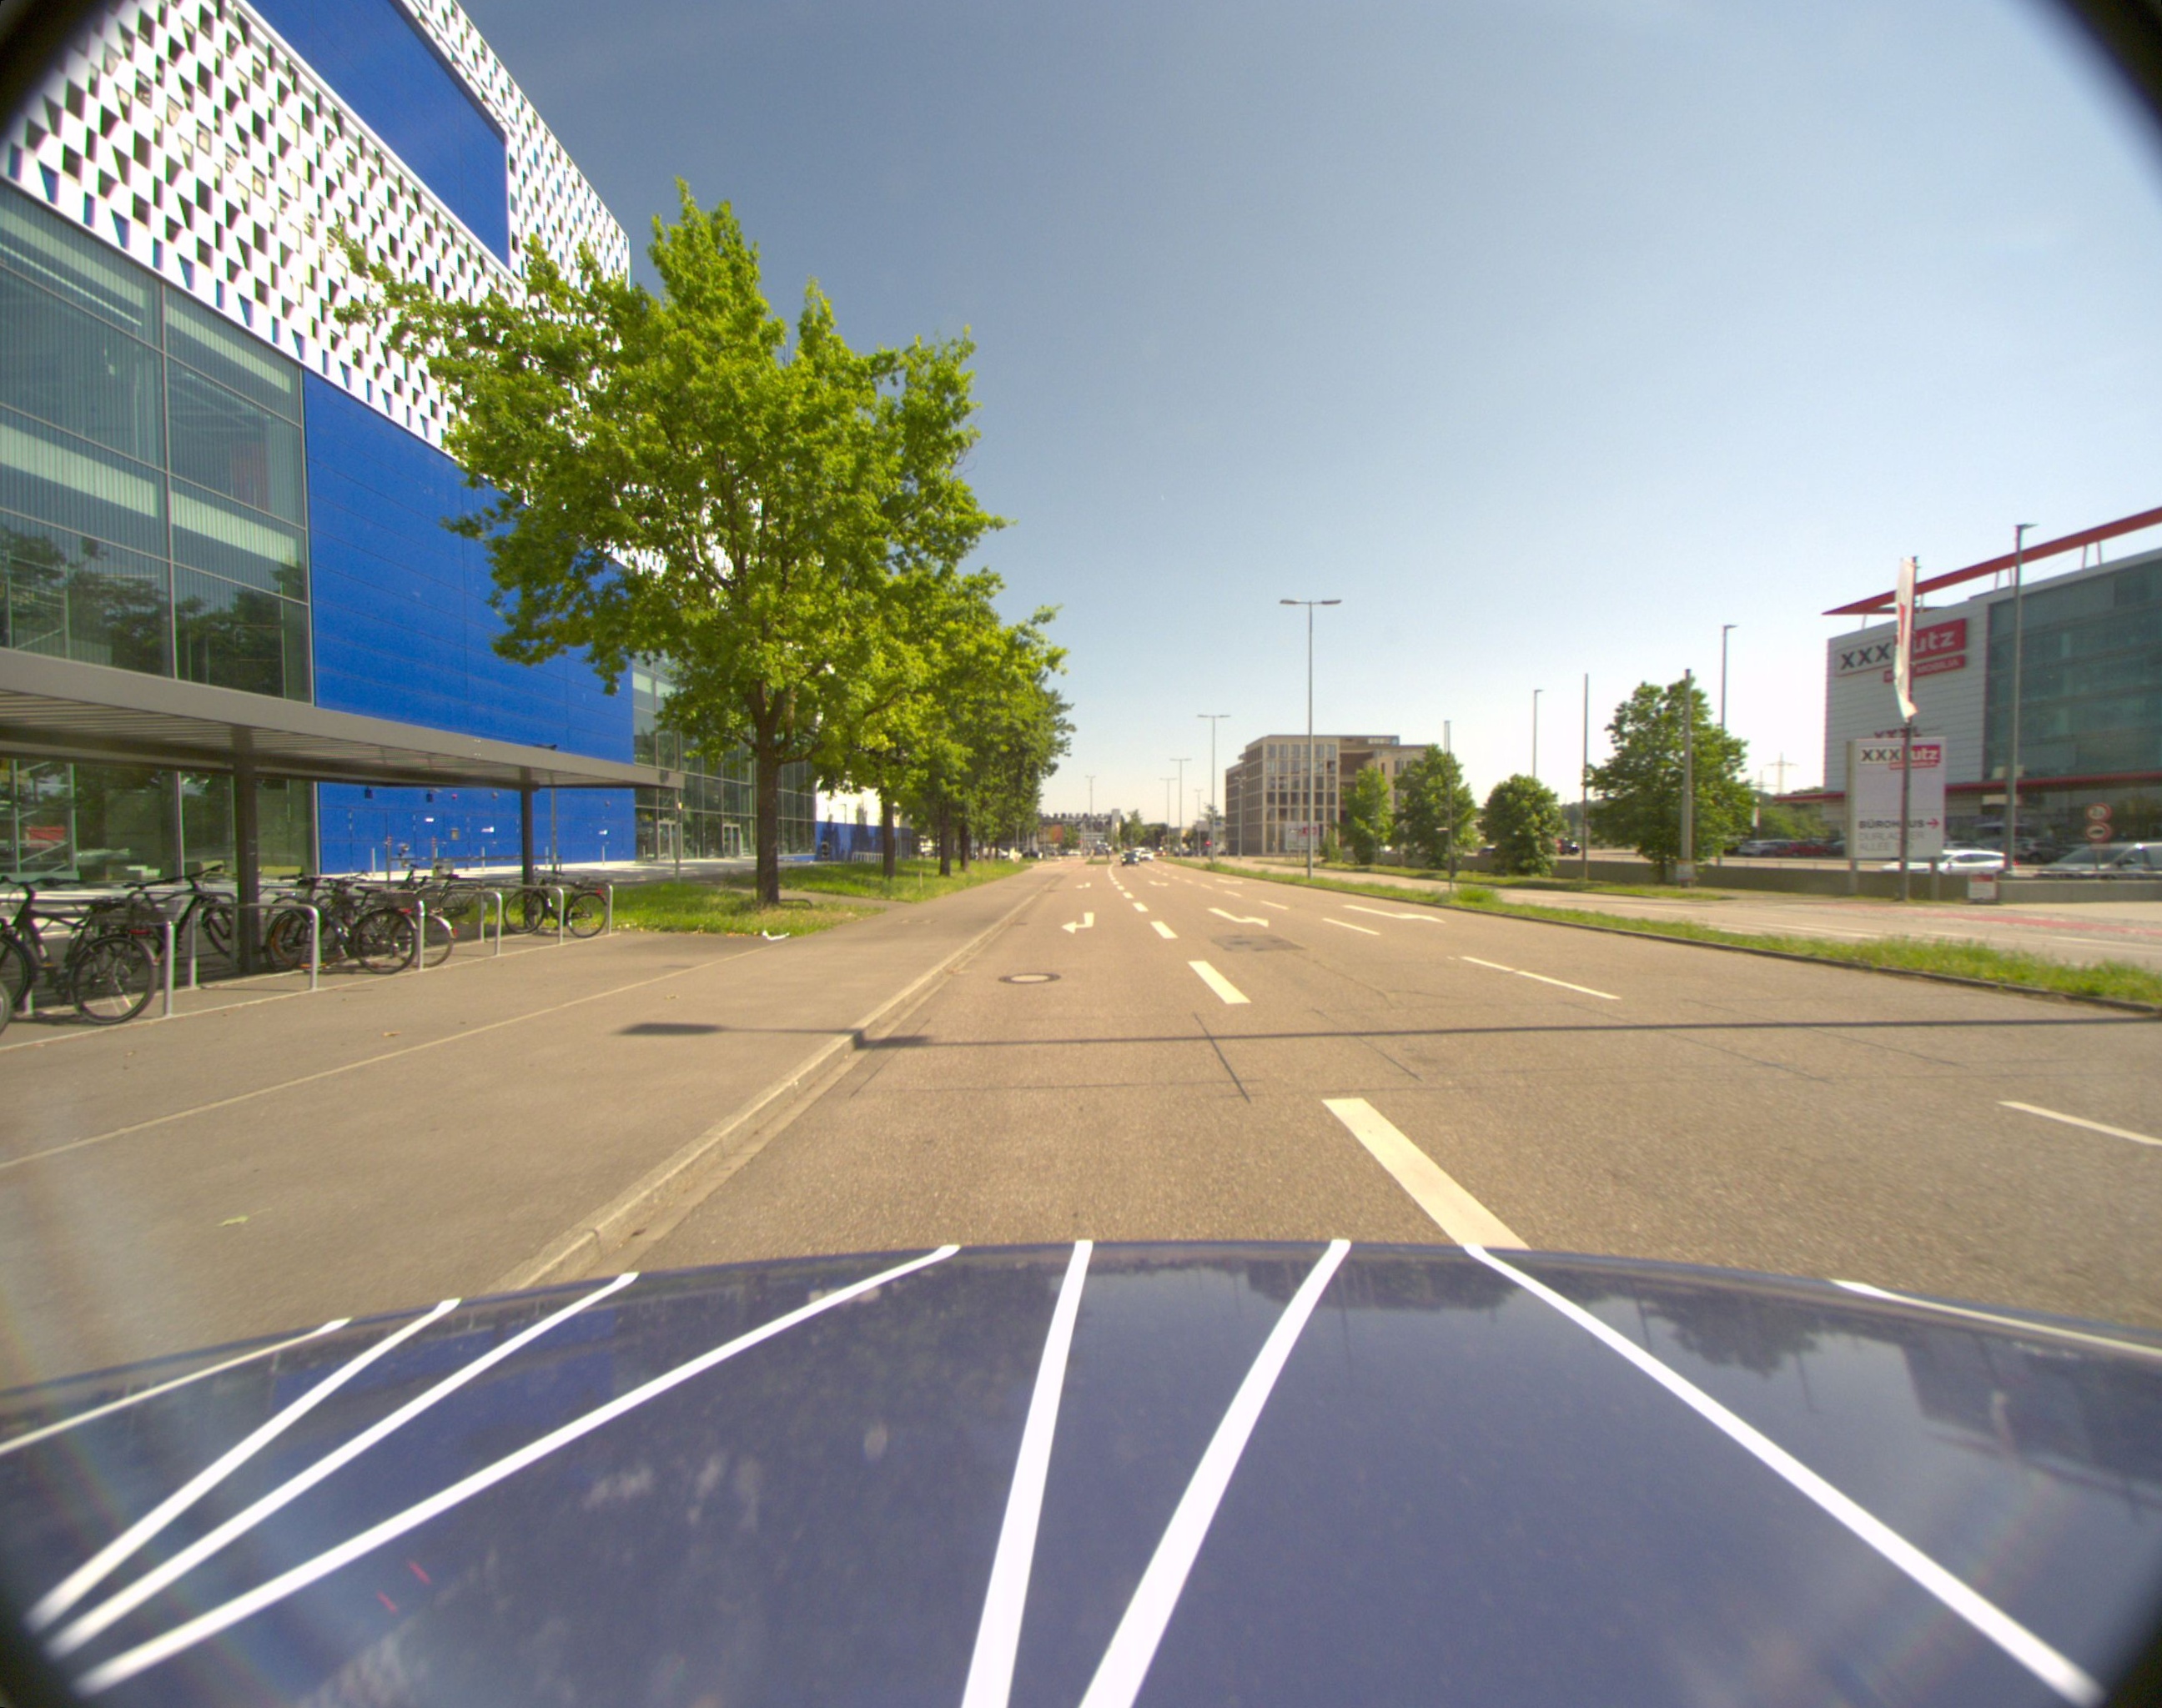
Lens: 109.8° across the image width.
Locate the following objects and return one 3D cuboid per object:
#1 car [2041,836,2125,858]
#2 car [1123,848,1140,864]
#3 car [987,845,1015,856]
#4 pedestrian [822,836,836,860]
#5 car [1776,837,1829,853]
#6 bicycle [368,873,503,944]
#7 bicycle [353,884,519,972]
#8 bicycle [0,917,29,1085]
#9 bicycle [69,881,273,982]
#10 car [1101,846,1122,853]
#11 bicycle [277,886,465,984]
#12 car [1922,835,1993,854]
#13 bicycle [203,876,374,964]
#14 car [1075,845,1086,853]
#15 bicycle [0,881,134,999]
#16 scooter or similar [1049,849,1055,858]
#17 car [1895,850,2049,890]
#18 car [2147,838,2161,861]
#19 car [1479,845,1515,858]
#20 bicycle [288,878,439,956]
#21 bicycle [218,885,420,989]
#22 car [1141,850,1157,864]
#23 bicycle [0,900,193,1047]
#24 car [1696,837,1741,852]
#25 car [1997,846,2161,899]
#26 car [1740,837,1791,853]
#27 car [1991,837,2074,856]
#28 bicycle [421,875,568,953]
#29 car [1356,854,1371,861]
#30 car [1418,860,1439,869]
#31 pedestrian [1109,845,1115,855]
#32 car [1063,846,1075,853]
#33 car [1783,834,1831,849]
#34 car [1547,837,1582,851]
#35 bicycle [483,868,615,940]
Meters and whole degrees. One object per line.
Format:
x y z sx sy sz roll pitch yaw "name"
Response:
61.681 -0.428 46.804 3.095 1.322 1.515 0 2 0 "car"
5.392 0.188 81.318 1.770 1.456 4.238 -1 2 3 "car"
-14.708 -0.698 139.280 4.997 1.996 1.740 0 2 -1 "car"
-16.891 -0.426 50.988 0.690 1.603 0.771 1 1 -3 "pedestrian"
62.964 -0.809 66.349 3.222 1.322 1.515 0 2 0 "car"
-10.223 0.848 12.054 1.762 1.090 0.452 0 1 1 "bicycle"
-8.293 0.943 9.797 1.762 1.090 0.452 0 1 1 "bicycle"
-7.988 0.969 4.908 1.762 1.090 0.452 0 1 1 "bicycle"
-10.262 0.863 8.594 1.762 1.090 0.452 0 1 1 "bicycle"
6.675 -0.980 164.812 4.478 1.578 1.980 0 1 2 "car"
-8.260 0.929 8.868 1.762 1.090 0.452 0 1 1 "bicycle"
62.770 -0.693 54.470 3.095 1.322 1.703 0 2 0 "car"
-10.272 0.845 9.873 1.762 1.090 0.452 0 1 1 "bicycle"
-0.137 -1.045 161.856 1.886 1.452 4.000 0 2 6 "car"
-10.341 0.812 7.363 1.762 1.090 0.452 0 1 1 "bicycle"
-4.211 -0.067 111.011 0.402 1.160 1.185 0 2 18 "scooter or similar"
37.974 0.647 32.468 4.424 1.618 1.870 0 2 -1 "car"
62.073 -0.253 42.353 3.095 1.286 1.515 0 2 0 "car"
36.792 -0.211 67.214 2.520 1.054 1.070 -1 2 -2 "car"
-10.358 0.897 10.991 1.762 1.090 0.452 0 1 1 "bicycle"
-8.325 0.895 8.336 1.762 1.090 0.452 0 1 1 "bicycle"
9.813 0.432 110.260 2.025 1.827 4.310 0 2 1 "car"
-8.200 0.926 6.037 1.762 1.090 0.452 0 1 1 "bicycle"
61.019 -0.920 72.749 3.095 1.322 1.515 0 2 0 "car"
36.590 0.634 27.496 4.423 1.832 1.945 0 2 1 "car"
62.029 -0.822 68.889 3.222 1.322 1.515 0 2 0 "car"
62.010 -0.493 49.543 3.508 1.192 1.480 0 2 0 "car"
-8.437 0.850 10.965 1.762 1.090 0.463 0 1 1 "bicycle"
42.714 0.529 115.067 1.942 0.970 0.889 -1 2 -2 "car"
42.248 1.264 92.395 1.942 0.970 1.070 -1 2 -2 "car"
5.205 -0.676 128.650 0.704 1.770 0.961 1 2 25 "pedestrian"
-2.593 -1.007 161.717 1.997 1.452 4.001 0 1 6 "car"
68.826 -1.171 72.025 3.095 1.377 1.515 0 2 0 "car"
53.453 -1.096 83.990 2.774 1.547 1.774 0 1 0 "car"
-8.354 0.779 11.962 1.762 1.090 0.452 0 1 1 "bicycle"
